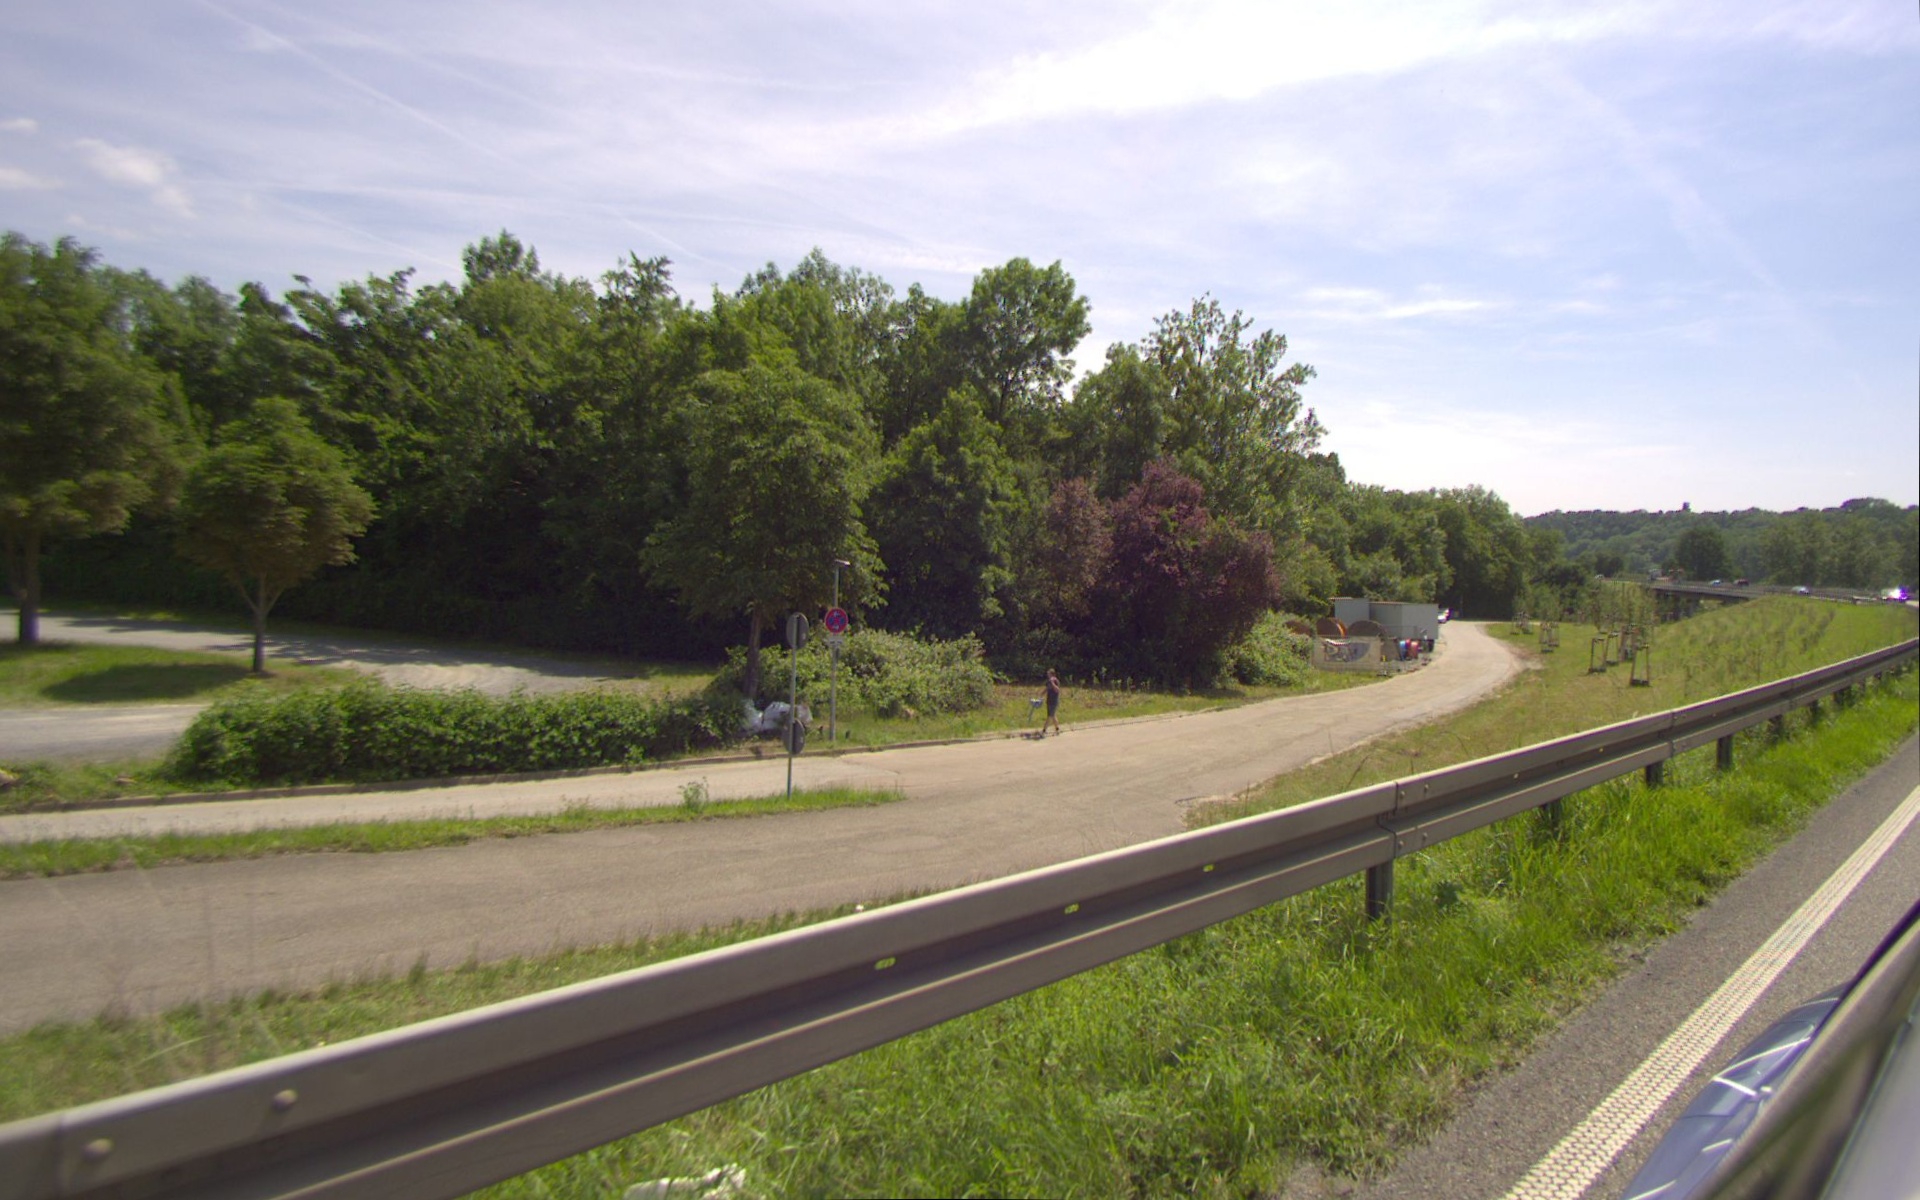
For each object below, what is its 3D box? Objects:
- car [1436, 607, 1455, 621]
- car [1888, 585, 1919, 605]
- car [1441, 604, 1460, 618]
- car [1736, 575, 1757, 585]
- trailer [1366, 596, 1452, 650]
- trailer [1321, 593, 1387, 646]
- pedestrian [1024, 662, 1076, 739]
[{"bbox_3d":[61.277,1.716,127.644,1.848,1.500,4.562,5,3,28],"label":"car"},{"bbox_3d":[92.079,-0.519,98.569,1.969,1.753,3.950,1,3,36],"label":"car"},{"bbox_3d":[66.658,1.474,137.444,1.850,1.702,4.153,5,3,31],"label":"car"},{"bbox_3d":[153.814,-3.862,197.976,1.906,1.883,5.138,1,2,22],"label":"car"},{"bbox_3d":[32.523,1.525,73.904,2.683,3.369,11.865,0,1,9],"label":"trailer"},{"bbox_3d":[30.213,1.345,78.114,2.684,3.651,11.857,0,1,11],"label":"trailer"},{"bbox_3d":[2.347,2.594,26.427,0.943,1.833,0.886,0,3,-44],"label":"pedestrian"}]
